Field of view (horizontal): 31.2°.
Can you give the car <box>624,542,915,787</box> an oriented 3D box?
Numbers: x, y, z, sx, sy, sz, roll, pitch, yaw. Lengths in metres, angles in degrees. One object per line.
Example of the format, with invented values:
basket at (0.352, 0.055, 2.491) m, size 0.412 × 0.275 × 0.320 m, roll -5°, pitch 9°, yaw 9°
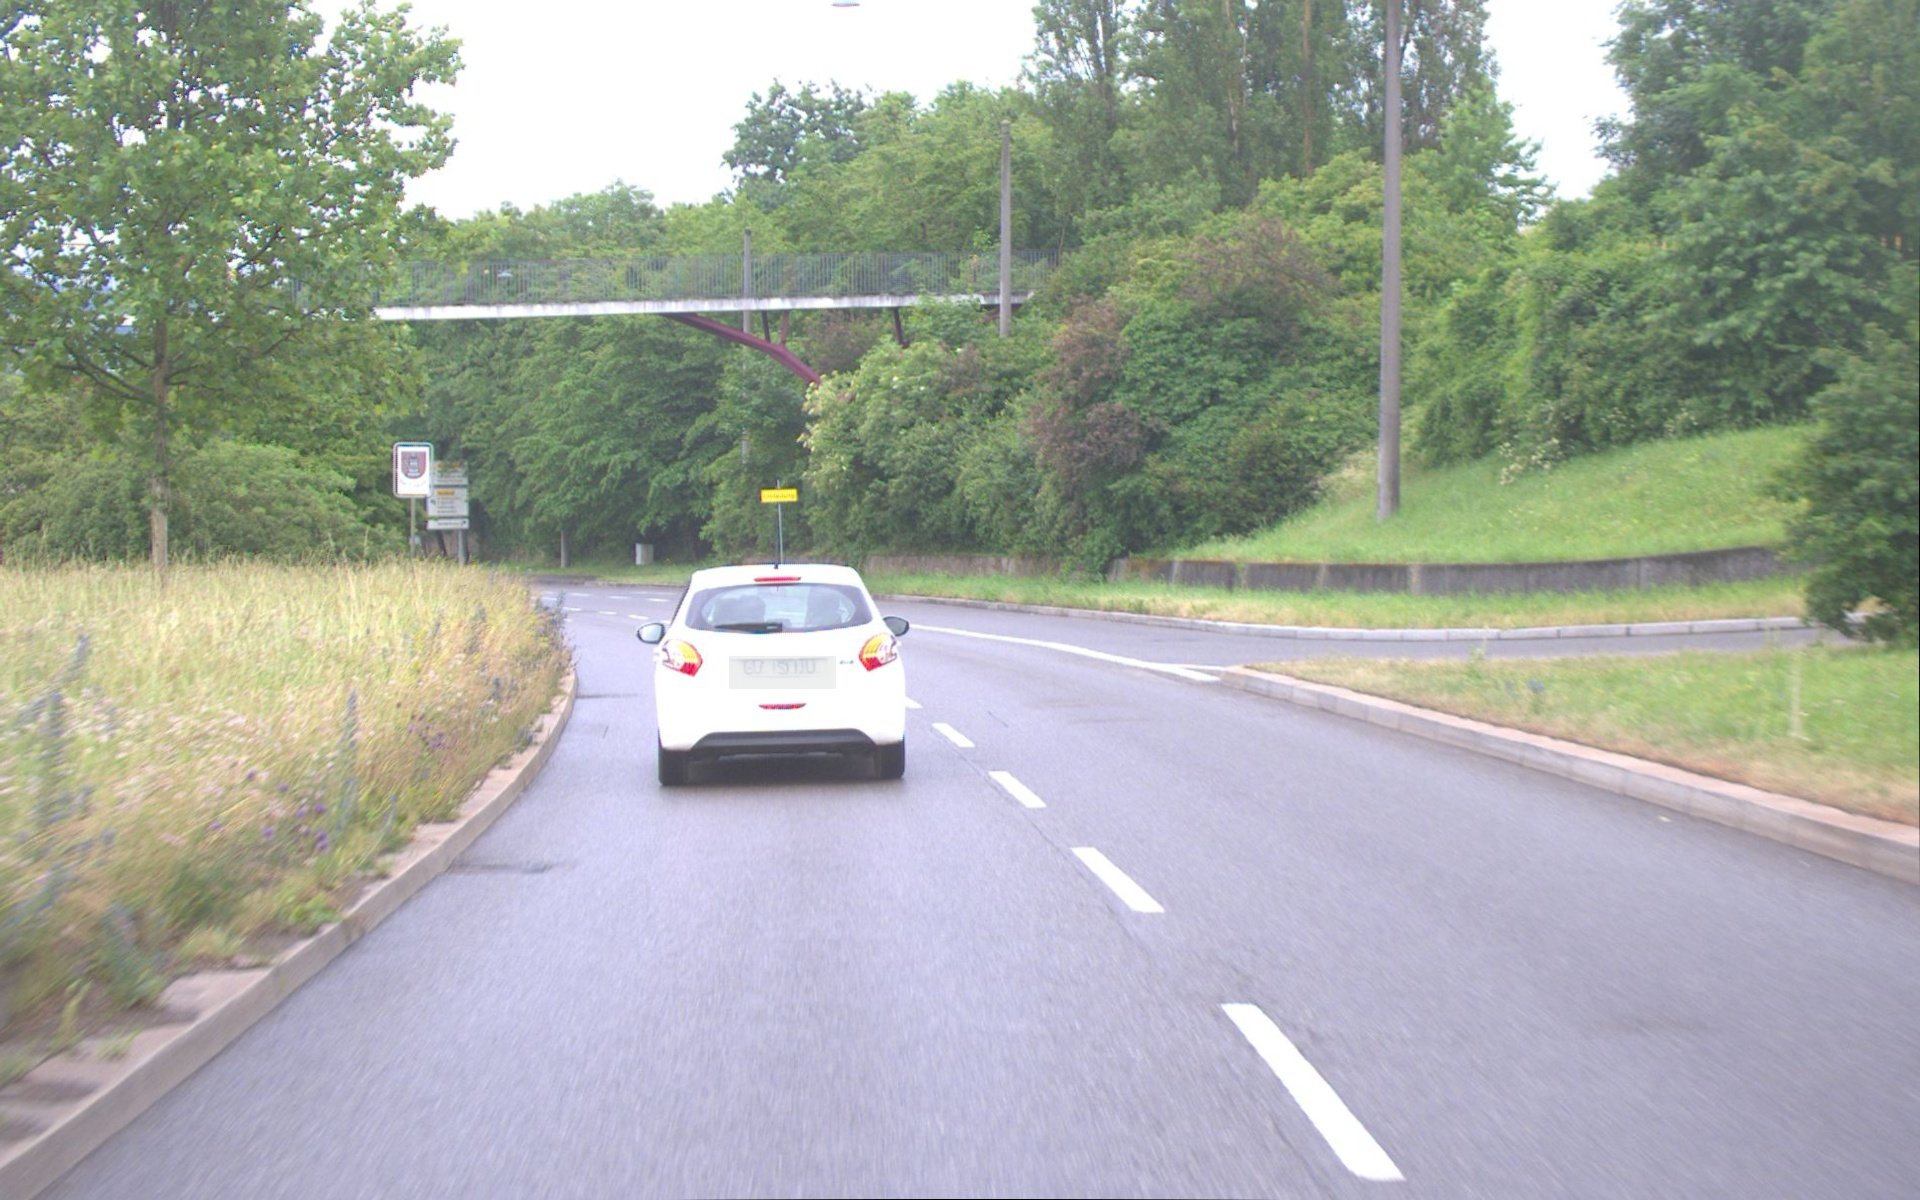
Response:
car at (-1.306, 0.386, 24.399) m, size 1.868 × 1.505 × 3.900 m, roll -1°, pitch 2°, yaw -2°
